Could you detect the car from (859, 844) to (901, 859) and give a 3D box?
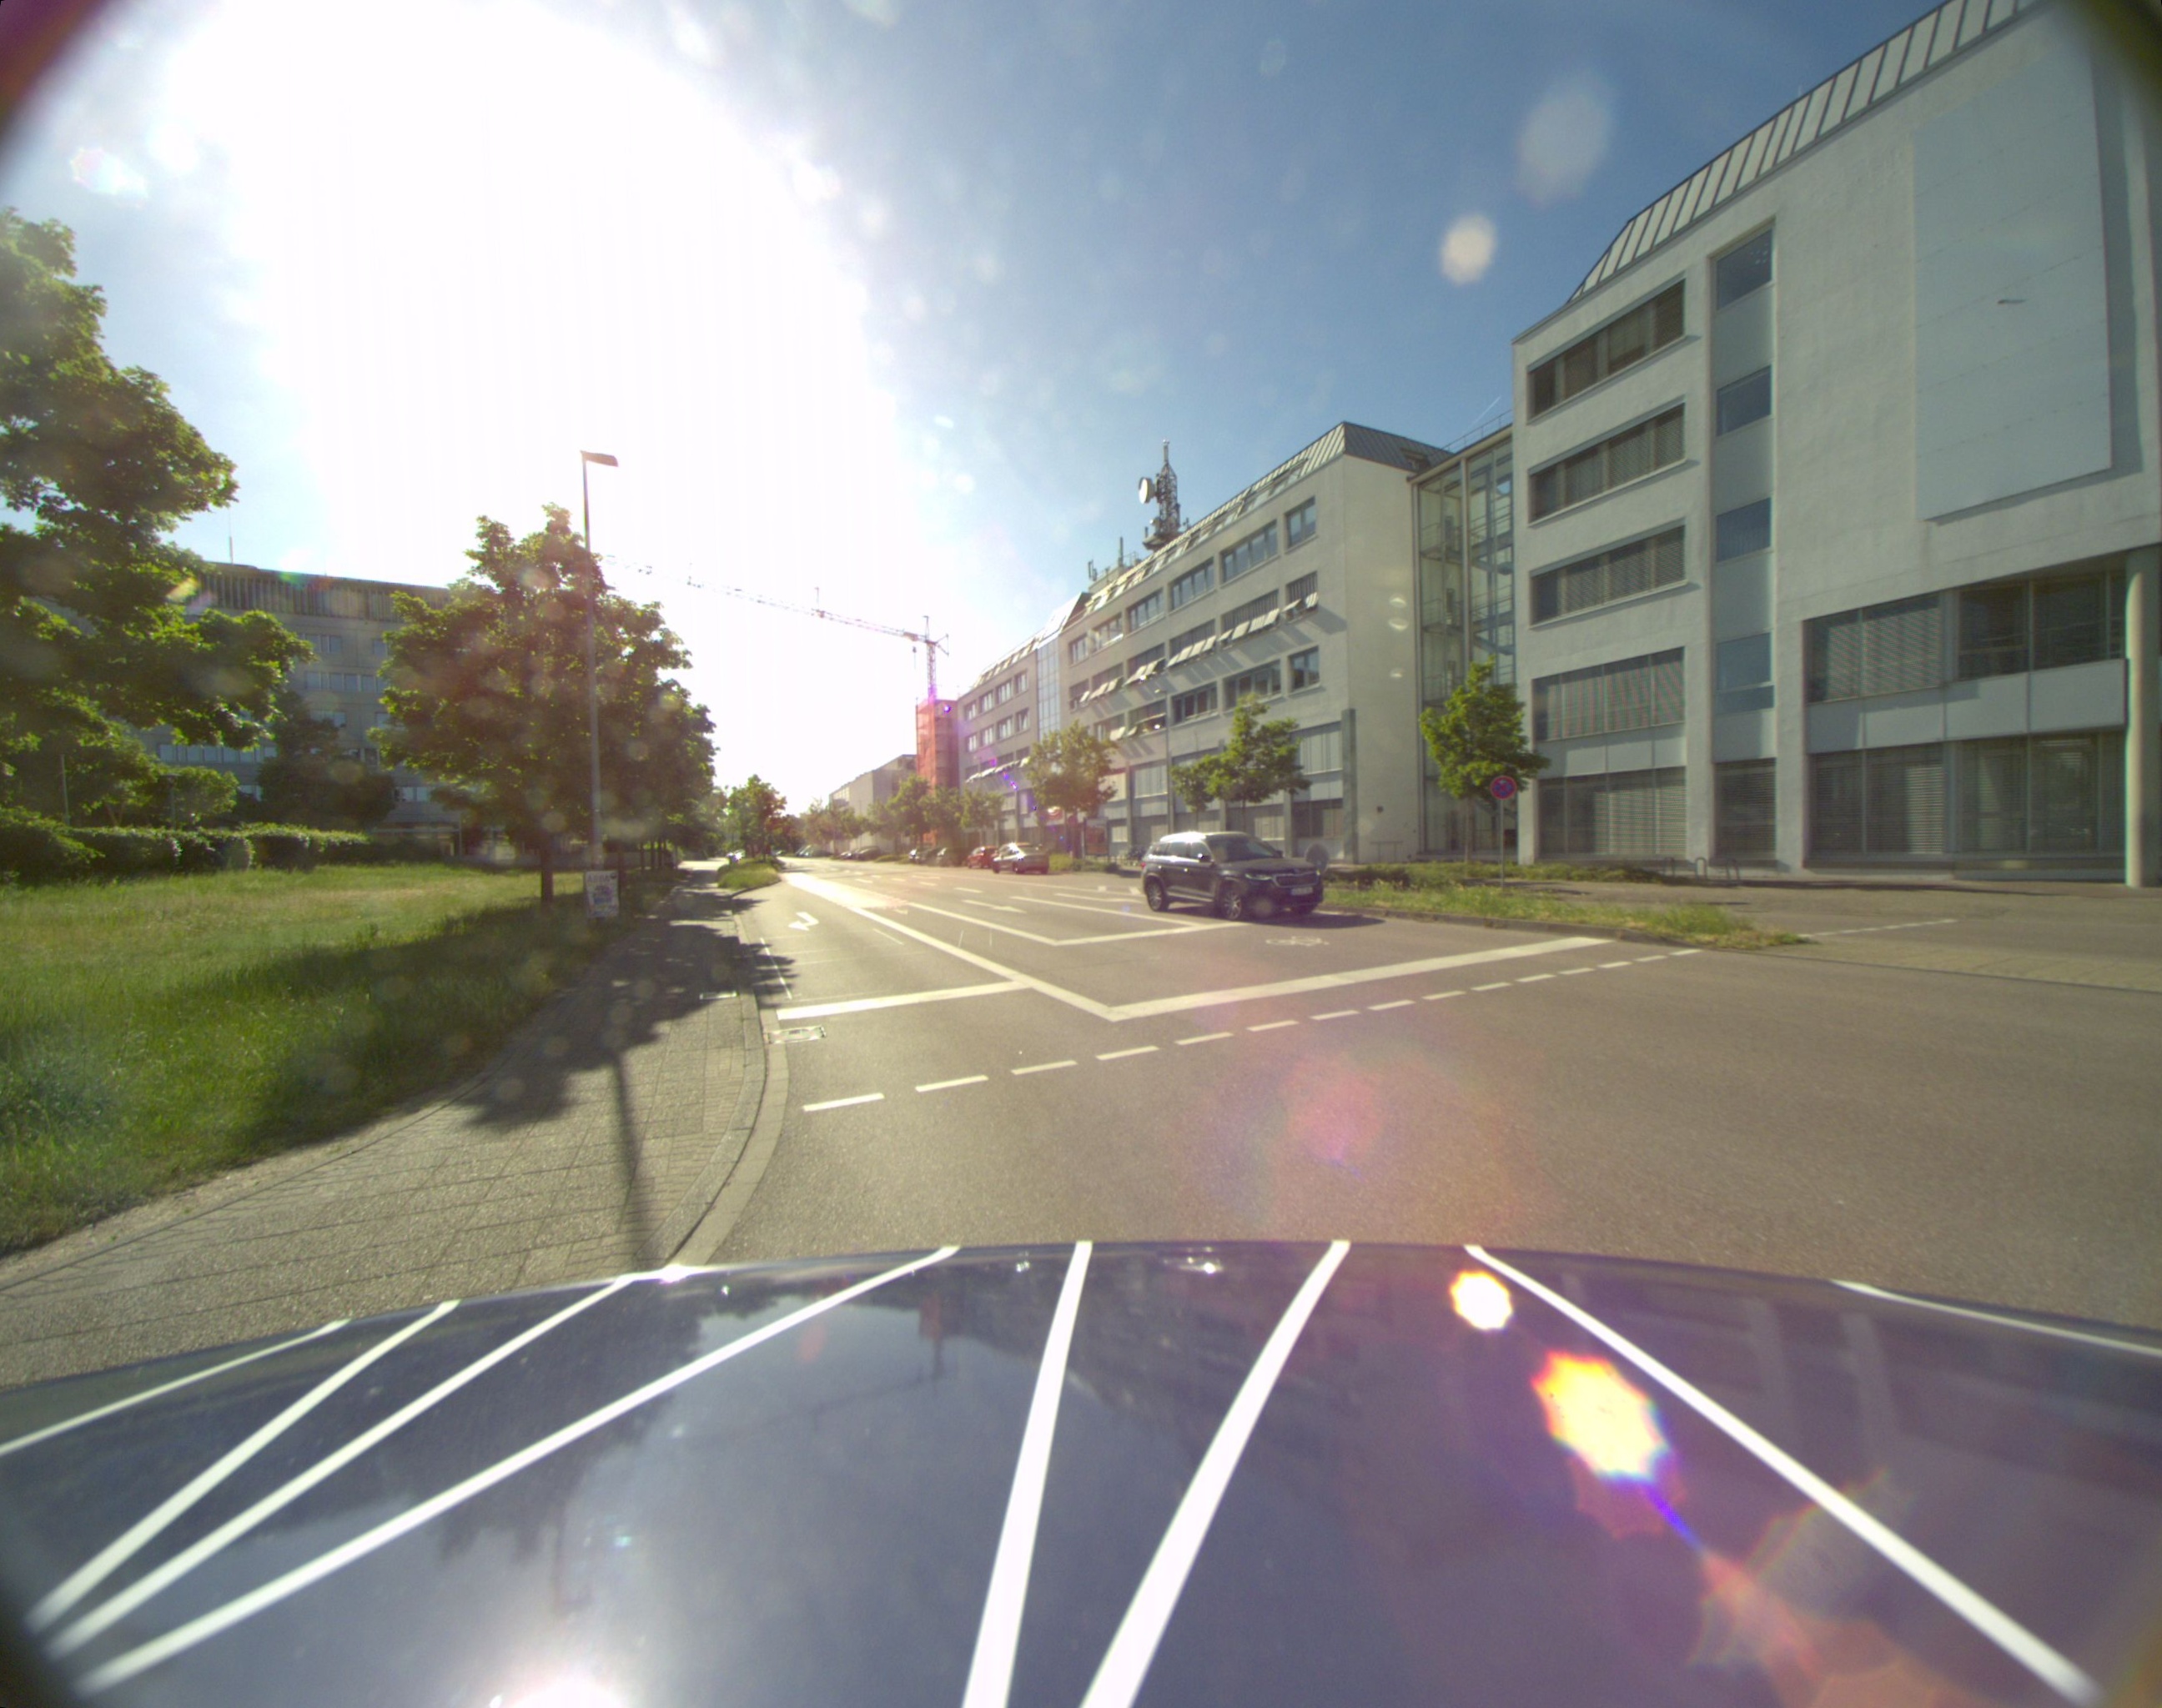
[{"bbox_3d":[-23.704,-0.328,89.595,4.405,1.424,1.973,-5,3,-29],"label":"car"}]

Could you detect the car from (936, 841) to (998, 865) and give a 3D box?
[{"bbox_3d":[-8.890,-0.097,59.559,4.405,1.529,1.689,-5,3,-29],"label":"car"}]

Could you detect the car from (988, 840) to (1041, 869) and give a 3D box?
[{"bbox_3d":[-4.266,0.012,48.026,1.695,1.598,4.300,-5,3,-27],"label":"car"}]

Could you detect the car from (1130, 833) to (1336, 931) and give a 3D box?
[{"bbox_3d":[2.918,0.465,15.664,1.761,1.619,4.468,-5,3,-26],"label":"car"}]

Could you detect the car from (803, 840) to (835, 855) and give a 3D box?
[{"bbox_3d":[-51.201,-1.278,148.570,5.593,2.469,2.006,-4,3,-23],"label":"car"}]

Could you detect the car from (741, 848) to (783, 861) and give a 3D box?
[{"bbox_3d":[-37.223,0.032,88.547,4.422,1.455,1.891,-1,1,-25],"label":"car"}]

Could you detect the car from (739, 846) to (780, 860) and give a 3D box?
[{"bbox_3d":[-38.353,-0.100,90.534,4.422,1.632,2.070,-1,1,-25],"label":"car"}]

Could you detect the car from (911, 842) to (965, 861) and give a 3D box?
[{"bbox_3d":[-12.834,-0.228,68.195,4.404,1.424,1.690,-5,3,-26],"label":"car"}]

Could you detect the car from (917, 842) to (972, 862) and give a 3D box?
[{"bbox_3d":[-11.902,-0.172,66.269,4.404,1.424,1.690,-5,3,-27],"label":"car"}]

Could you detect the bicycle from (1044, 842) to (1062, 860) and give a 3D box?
[{"bbox_3d":[-2.114,-0.246,57.097,0.712,1.339,2.228,-1,1,-20],"label":"bicycle"}]

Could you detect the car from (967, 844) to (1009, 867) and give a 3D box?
[{"bbox_3d":[-6.450,0.051,52.454,1.695,1.424,3.863,-5,3,-25],"label":"car"}]

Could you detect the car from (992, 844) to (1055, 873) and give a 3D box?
[{"bbox_3d":[-3.219,0.231,41.685,1.696,1.460,4.536,-1,1,-28],"label":"car"}]

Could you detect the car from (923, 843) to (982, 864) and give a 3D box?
[{"bbox_3d":[-10.501,-0.059,62.166,4.405,1.424,1.689,-5,3,-28],"label":"car"}]

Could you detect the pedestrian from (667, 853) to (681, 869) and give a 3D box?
[{"bbox_3d":[-31.329,0.500,58.467,0.849,1.210,0.727,-1,1,-37],"label":"pedestrian"}]

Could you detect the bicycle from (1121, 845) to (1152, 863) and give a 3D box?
[{"bbox_3d":[3.312,-0.012,45.271,1.774,1.063,0.555,-1,1,-18],"label":"bicycle"}]

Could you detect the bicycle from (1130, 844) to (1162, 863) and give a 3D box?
[{"bbox_3d":[3.804,-0.036,44.647,1.795,1.063,0.620,-1,1,-17],"label":"bicycle"}]
